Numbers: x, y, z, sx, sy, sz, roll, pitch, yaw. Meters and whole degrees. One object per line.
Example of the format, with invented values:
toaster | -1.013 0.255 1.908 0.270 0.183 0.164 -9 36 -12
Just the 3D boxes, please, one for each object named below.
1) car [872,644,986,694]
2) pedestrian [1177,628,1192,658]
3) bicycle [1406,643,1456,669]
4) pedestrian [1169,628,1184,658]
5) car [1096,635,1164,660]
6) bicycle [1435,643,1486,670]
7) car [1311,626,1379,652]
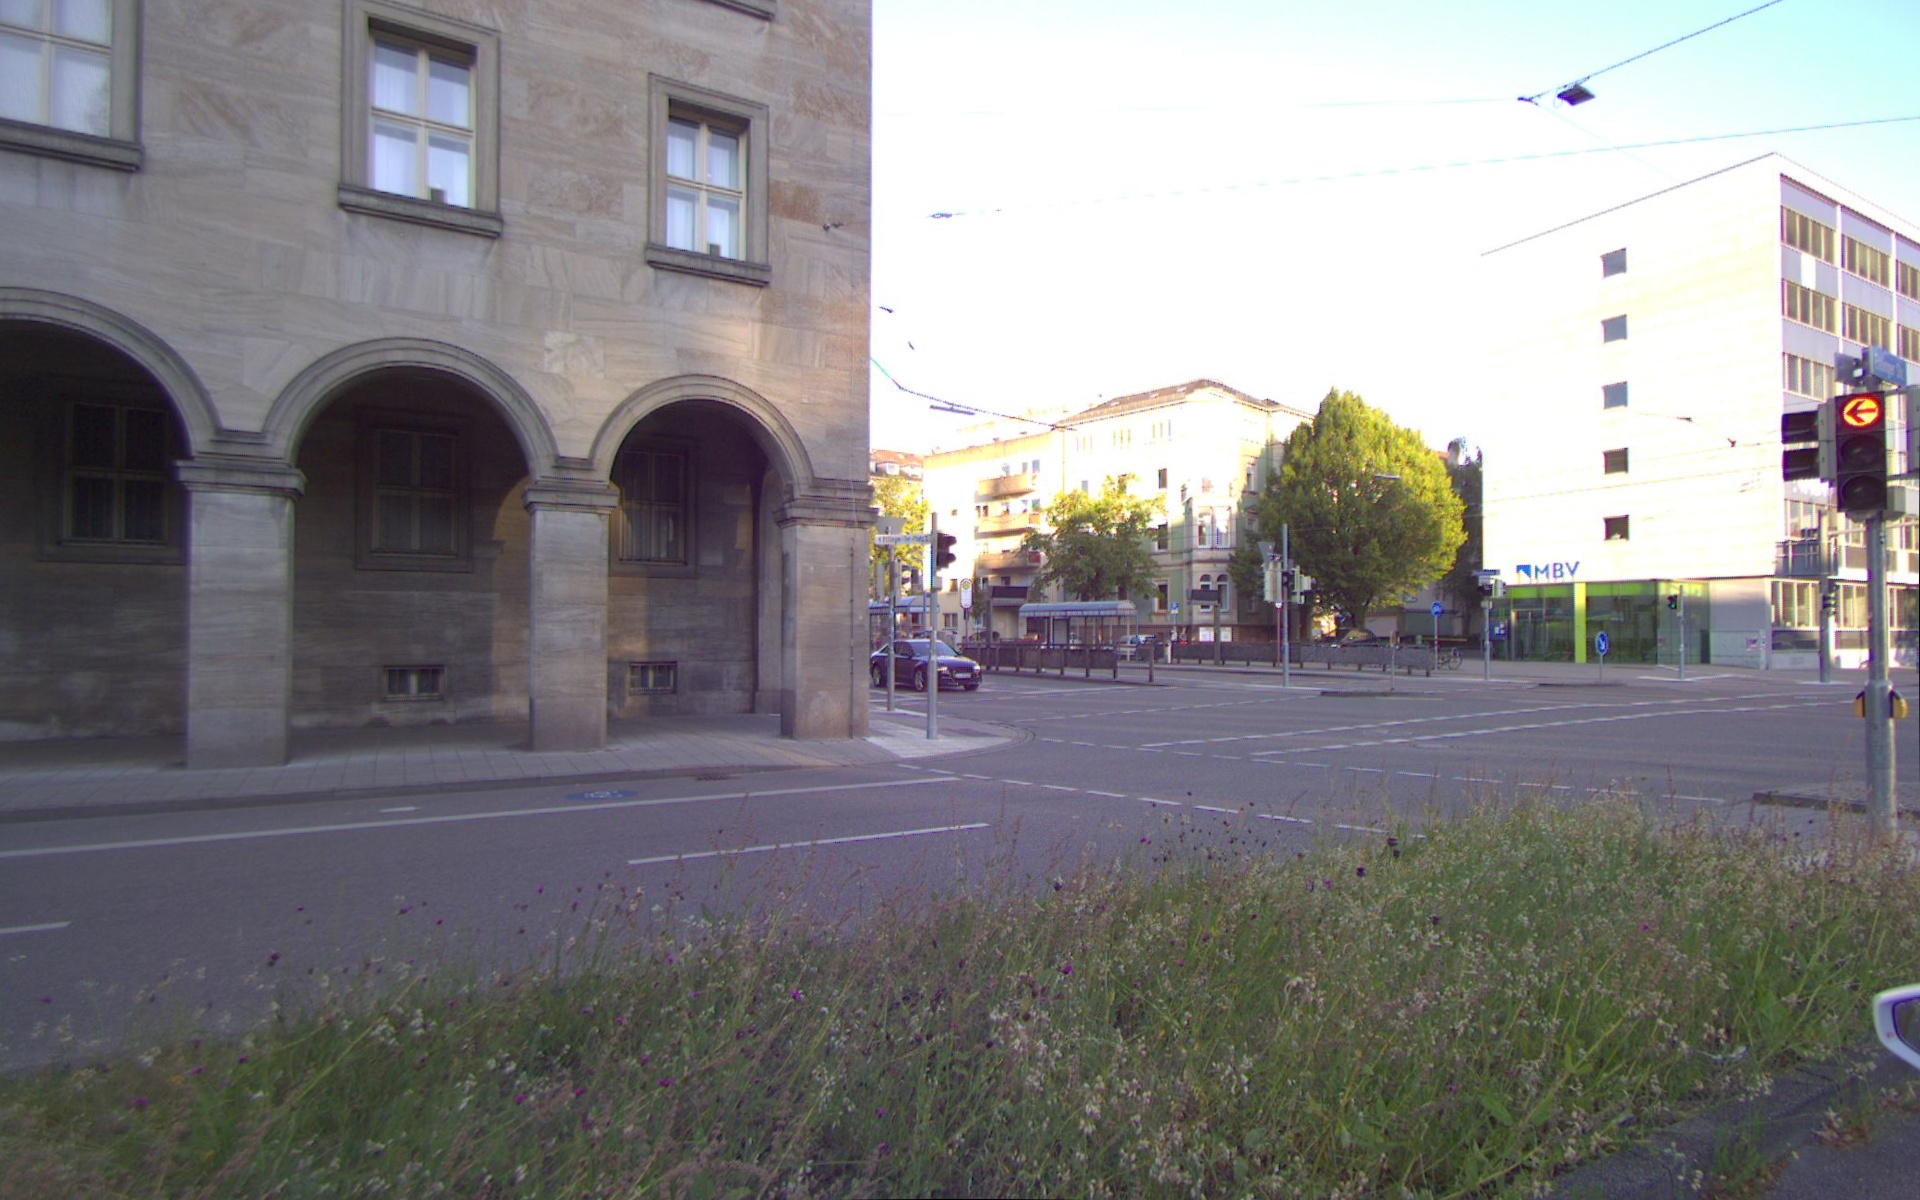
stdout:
car | -0.989 1.984 29.769 1.791 1.344 4.120 1 -2 -27
pedestrian | 13.988 2.663 62.528 0.718 1.813 0.634 2 -2 -43
bicycle | 20.982 2.464 44.757 2.183 1.127 0.834 1 -2 -26
pedestrian | 13.366 2.662 62.107 0.718 1.813 0.634 2 -2 -44
car | 10.009 2.777 59.229 3.545 1.390 1.830 -2 -3 45
bicycle | 21.674 2.424 43.511 2.183 1.127 0.834 1 -2 -26
car | 21.699 2.201 56.590 3.553 1.390 1.826 1 -2 -32
